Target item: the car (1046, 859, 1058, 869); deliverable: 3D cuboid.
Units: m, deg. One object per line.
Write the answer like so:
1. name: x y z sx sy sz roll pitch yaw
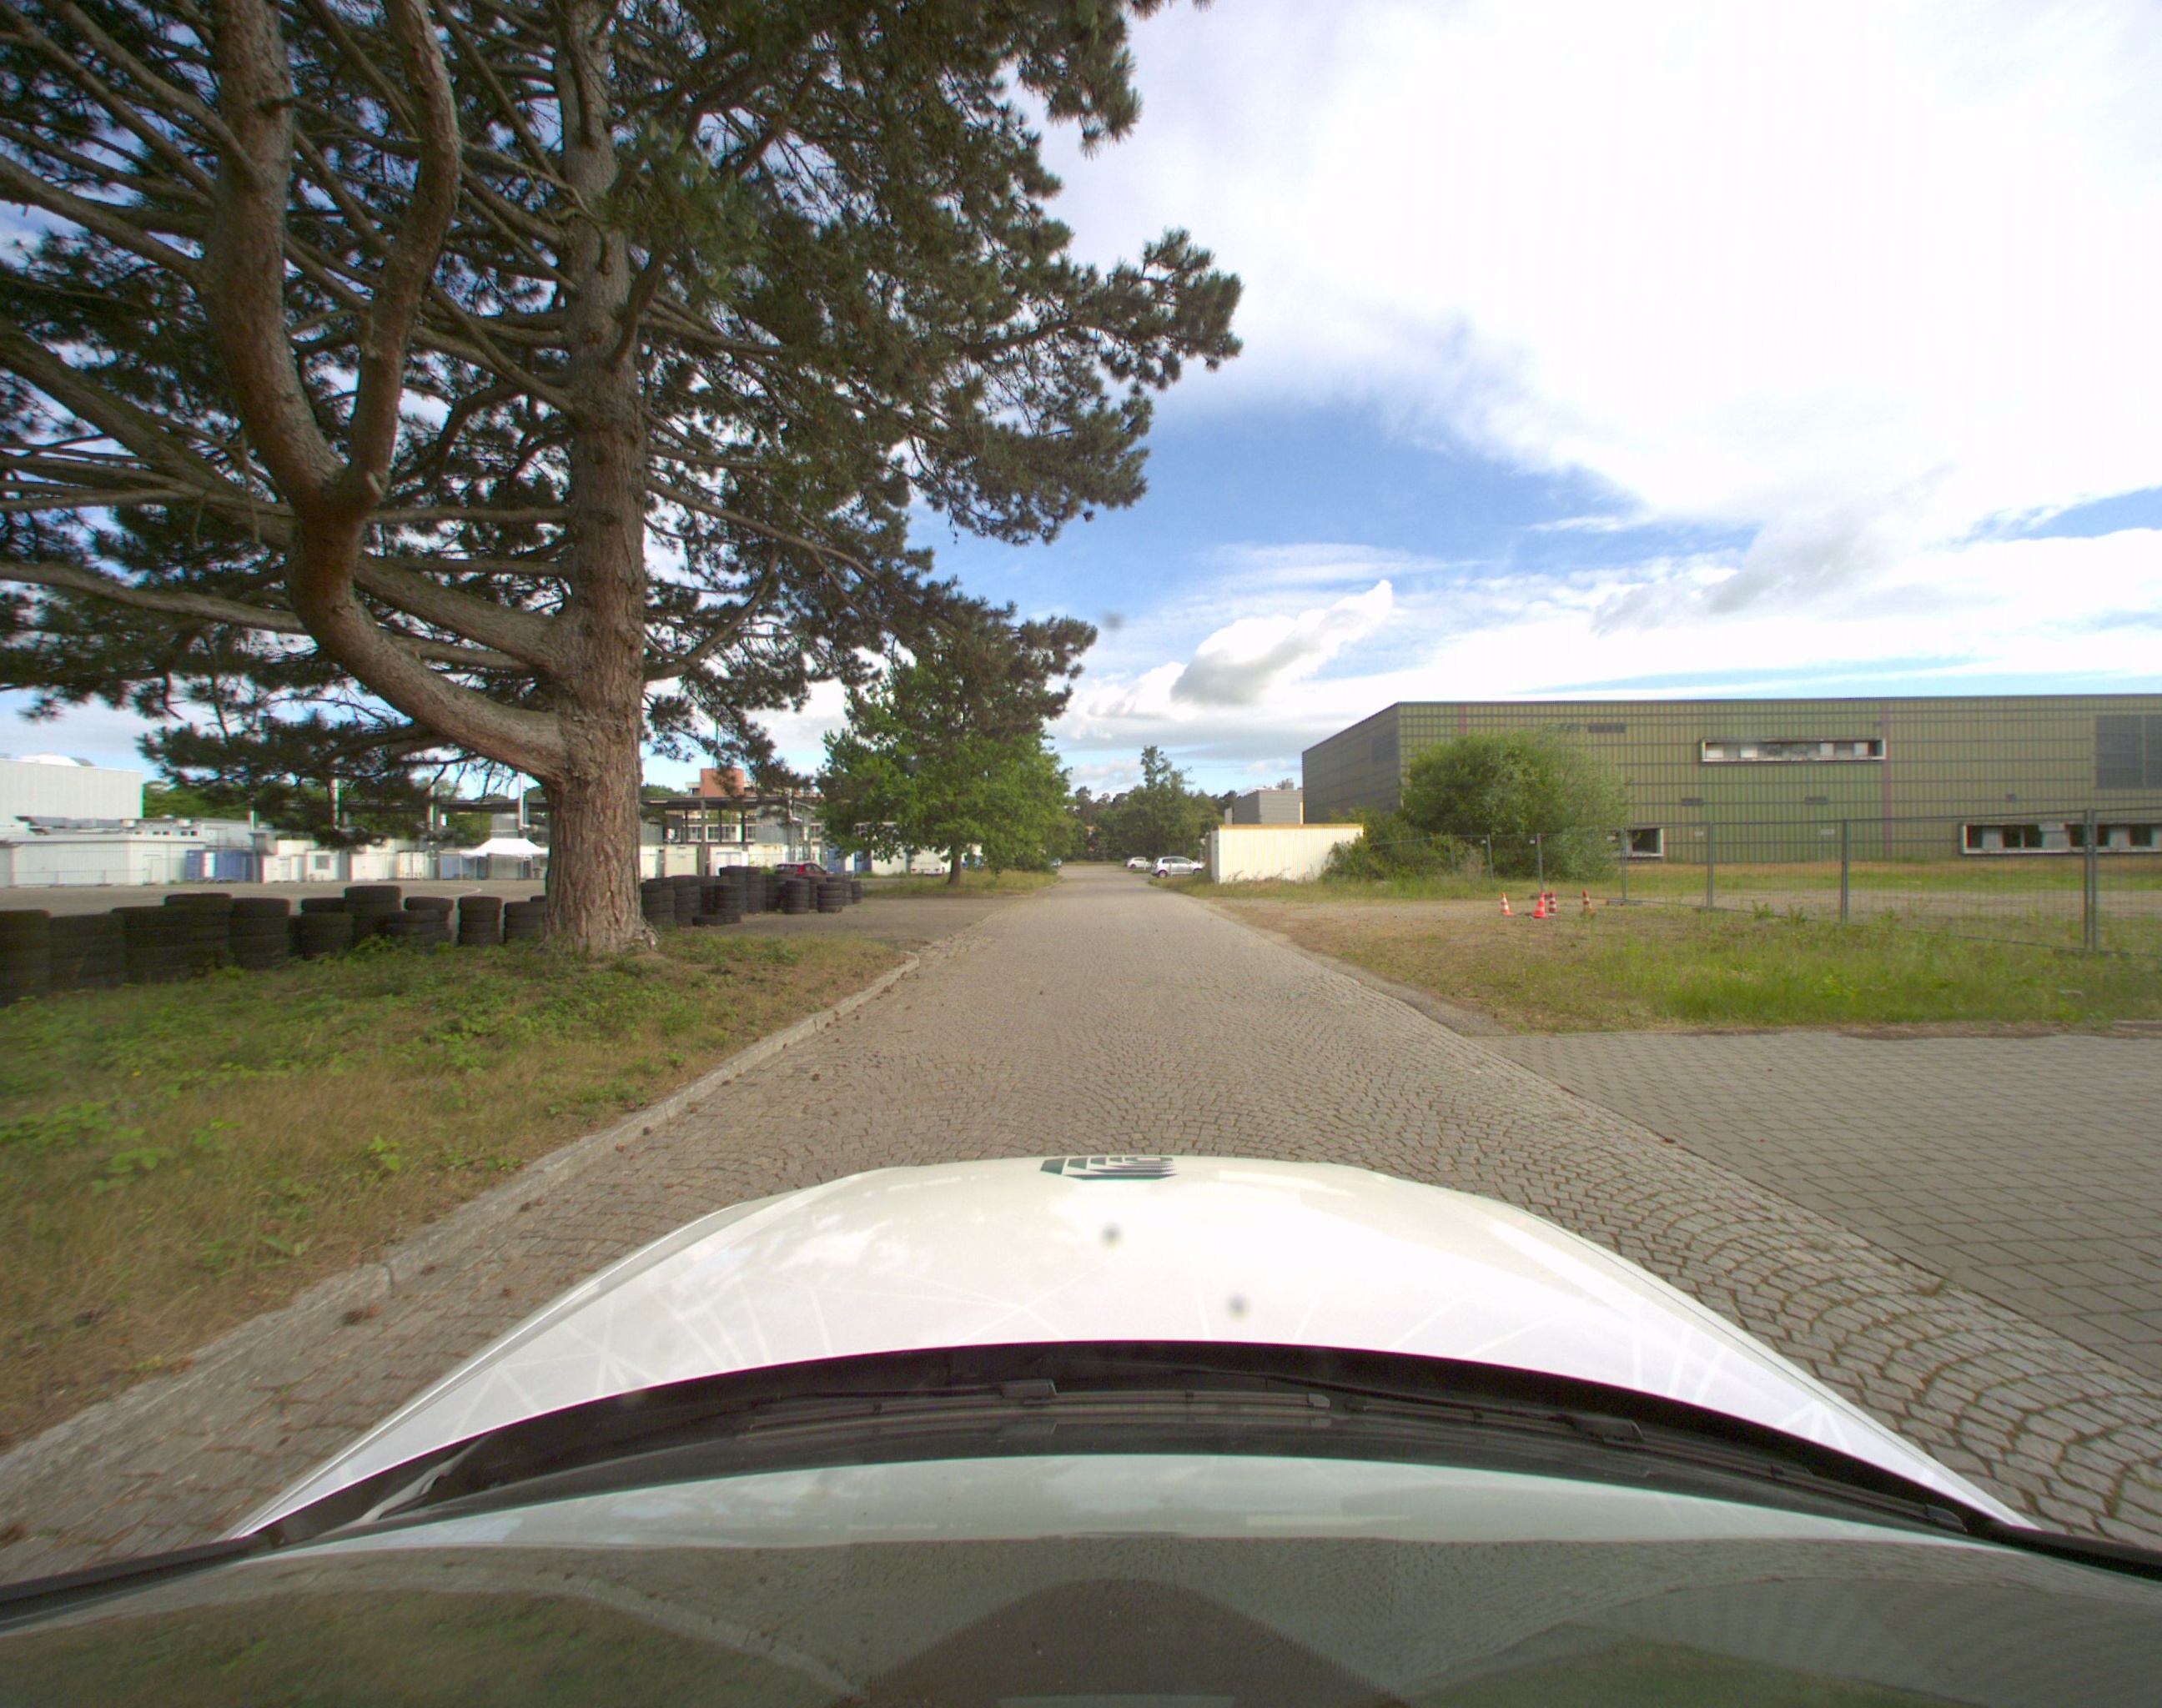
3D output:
1. car: -4.457 1.474 124.934 1.730 1.469 4.043 -1 0 -1

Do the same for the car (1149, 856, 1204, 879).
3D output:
1. car: 6.973 0.987 59.676 3.839 1.654 1.685 -1 -1 -2

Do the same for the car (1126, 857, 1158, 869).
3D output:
1. car: 7.937 1.156 105.826 4.010 1.502 1.548 -1 -1 1

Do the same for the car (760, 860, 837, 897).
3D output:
1. car: -12.038 1.012 34.975 1.758 1.453 3.494 -1 0 6

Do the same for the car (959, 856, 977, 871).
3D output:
1. car: -15.719 1.277 113.160 1.920 2.047 4.597 -1 0 -1

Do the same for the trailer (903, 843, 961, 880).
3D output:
1. trailer: -13.098 0.619 72.438 3.146 3.067 8.790 -1 0 3
